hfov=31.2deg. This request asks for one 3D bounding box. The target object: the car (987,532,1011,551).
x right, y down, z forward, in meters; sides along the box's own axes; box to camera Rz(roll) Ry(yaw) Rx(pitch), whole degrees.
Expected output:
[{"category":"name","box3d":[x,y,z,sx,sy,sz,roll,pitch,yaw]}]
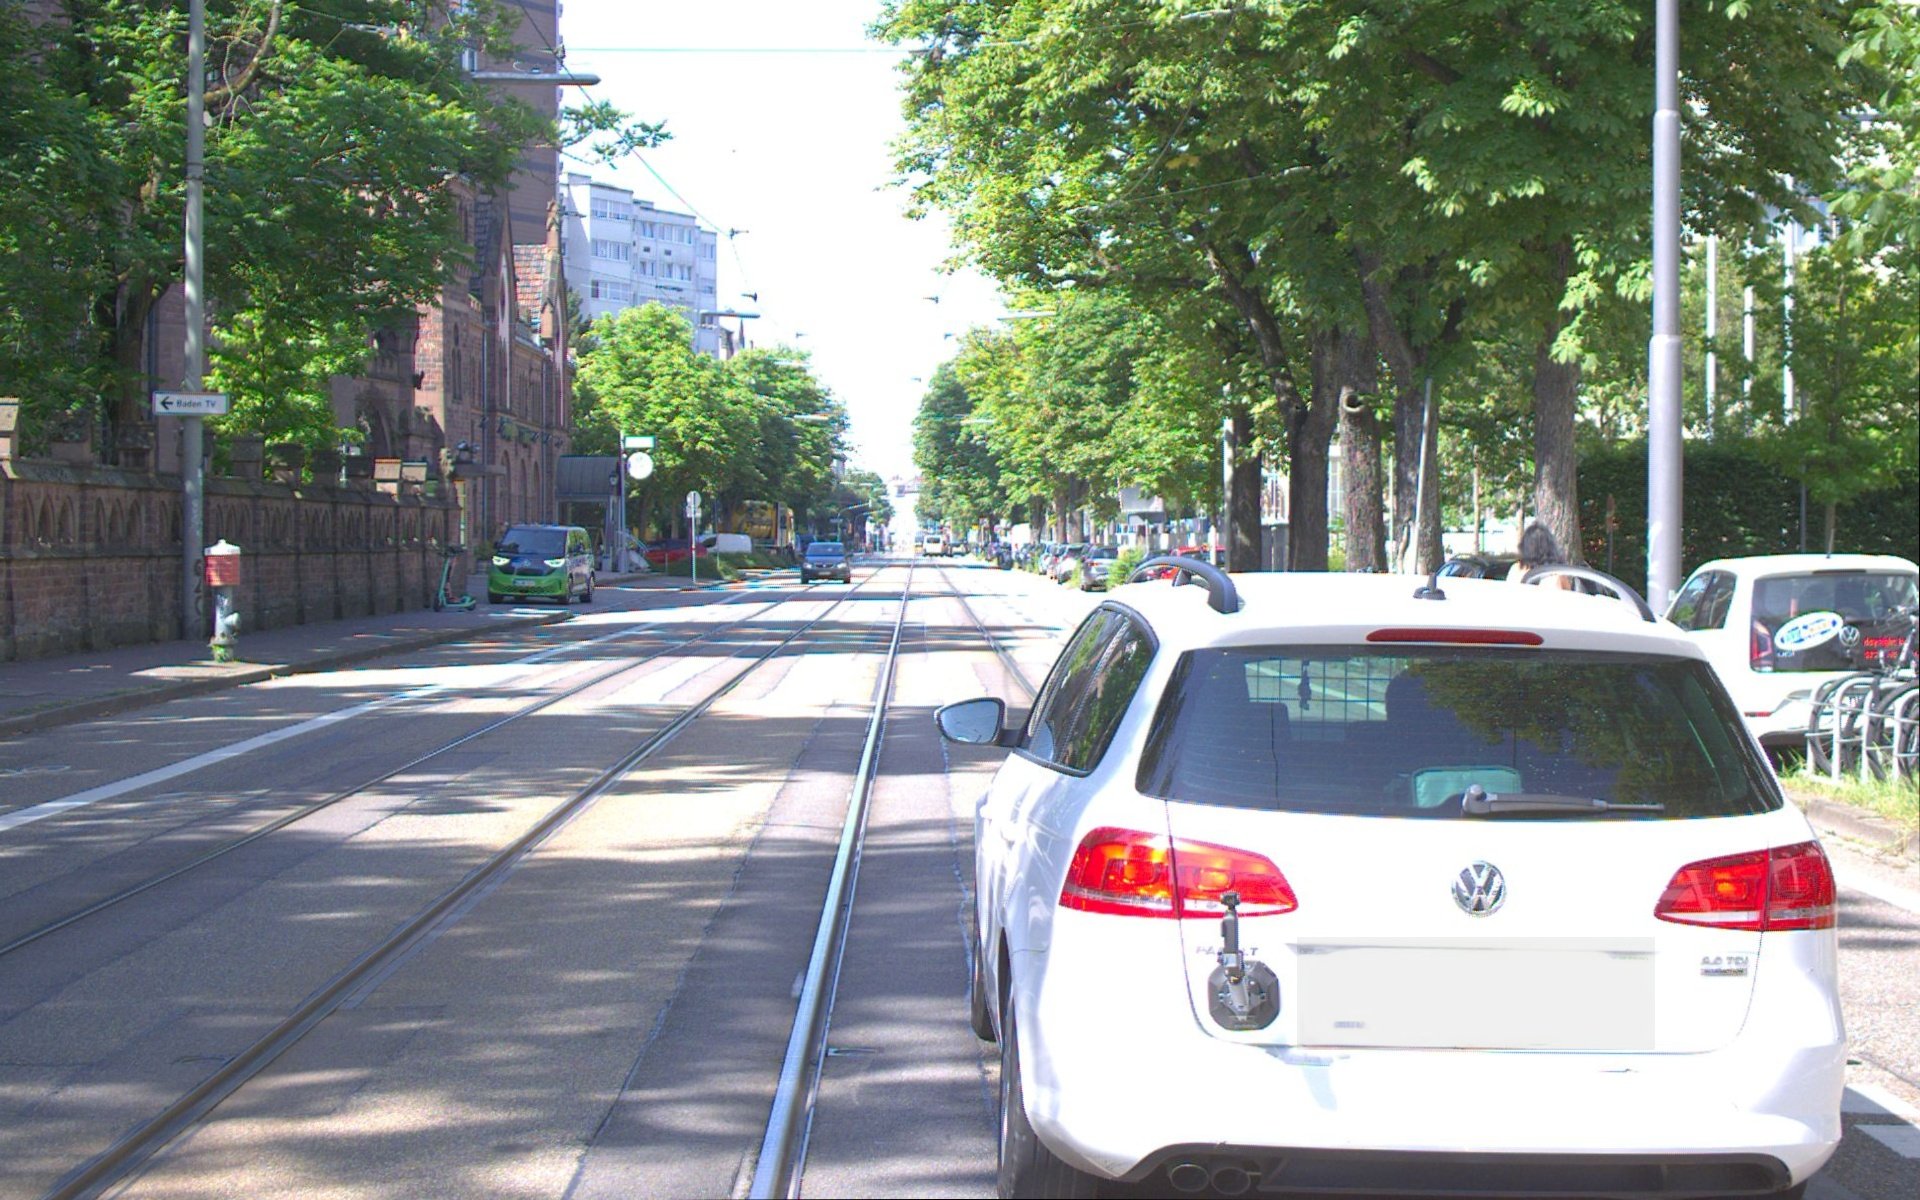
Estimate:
[{"category":"car","box3d":[2.785,-4.188,245.501,1.713,1.396,3.843,0,1,0]}]

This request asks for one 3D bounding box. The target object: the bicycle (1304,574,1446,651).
[{"category":"bicycle","box3d":[5.446,0.160,45.176,1.787,1.007,0.488,0,1,-5]}]

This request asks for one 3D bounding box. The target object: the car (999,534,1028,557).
[{"category":"car","box3d":[3.285,-3.343,211.782,1.713,1.396,3.843,0,1,0]}]

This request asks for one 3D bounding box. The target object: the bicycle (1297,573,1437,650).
[{"category":"bicycle","box3d":[5.402,0.146,45.695,1.787,1.007,0.488,0,1,-5]}]

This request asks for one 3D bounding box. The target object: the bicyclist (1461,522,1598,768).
[{"category":"bicyclist","box3d":[3.812,0.293,23.055,0.786,1.623,0.738,0,1,0]}]

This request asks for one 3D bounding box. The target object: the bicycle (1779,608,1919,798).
[{"category":"bicycle","box3d":[5.915,0.631,20.500,1.885,1.079,0.551,2,1,-3]}]

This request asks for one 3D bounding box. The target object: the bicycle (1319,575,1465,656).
[{"category":"bicycle","box3d":[5.518,0.195,43.904,1.787,1.007,0.488,0,1,-5]}]

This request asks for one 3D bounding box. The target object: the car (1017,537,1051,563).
[{"category":"car","box3d":[3.884,-2.640,181.416,1.713,1.396,3.843,0,1,0]}]

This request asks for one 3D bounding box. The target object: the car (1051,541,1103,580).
[{"category":"car","box3d":[4.236,-1.441,124.954,1.713,1.396,3.843,0,1,-1]}]

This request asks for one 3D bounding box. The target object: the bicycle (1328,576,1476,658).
[{"category":"bicycle","box3d":[5.570,0.211,43.321,1.787,1.007,0.488,0,1,-5]}]

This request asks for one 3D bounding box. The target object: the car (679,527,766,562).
[{"category":"car","box3d":[-12.191,-2.853,176.324,3.988,1.809,2.000,-1,1,-36]}]

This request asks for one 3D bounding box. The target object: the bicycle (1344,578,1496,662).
[{"category":"bicycle","box3d":[5.639,0.243,42.162,1.787,1.007,0.488,0,1,-5]}]

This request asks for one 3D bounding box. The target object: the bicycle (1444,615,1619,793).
[{"category":"bicycle","box3d":[3.787,0.669,22.930,0.811,1.074,2.012,1,1,0]}]

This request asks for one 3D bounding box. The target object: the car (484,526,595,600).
[{"category":"car","box3d":[-10.244,-0.918,84.062,1.993,1.751,4.712,0,1,2]}]

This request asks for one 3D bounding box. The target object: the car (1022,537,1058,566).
[{"category":"car","box3d":[3.933,-2.396,170.183,1.713,1.396,3.843,0,1,0]}]

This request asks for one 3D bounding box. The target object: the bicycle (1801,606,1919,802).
[{"category":"bicycle","box3d":[5.907,0.628,19.858,1.911,1.079,0.551,3,1,-3]}]

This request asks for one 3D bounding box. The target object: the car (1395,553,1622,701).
[{"category":"car","box3d":[5.739,0.237,36.452,1.664,1.439,4.633,0,1,0]}]

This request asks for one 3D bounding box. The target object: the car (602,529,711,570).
[{"category":"car","box3d":[-12.630,-2.105,143.052,4.116,1.525,1.933,2,1,-21]}]

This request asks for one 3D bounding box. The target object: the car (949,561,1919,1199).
[{"category":"car","box3d":[0.912,0.634,8.709,1.753,1.437,4.413,1,1,-2]}]

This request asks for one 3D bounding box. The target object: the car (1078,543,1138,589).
[{"category":"car","box3d":[4.604,-1.062,107.108,1.713,1.396,3.843,0,1,0]}]

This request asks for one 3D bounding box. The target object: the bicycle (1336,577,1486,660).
[{"category":"bicycle","box3d":[5.602,0.227,42.745,1.787,1.007,0.488,0,1,-5]}]

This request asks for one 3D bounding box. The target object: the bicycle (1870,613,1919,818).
[{"category":"bicycle","box3d":[5.984,0.651,18.646,1.911,1.079,0.551,2,1,-3]}]

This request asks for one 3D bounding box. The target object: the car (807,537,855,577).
[{"category":"car","box3d":[-4.494,-1.523,120.093,1.493,1.380,3.643,0,1,0]}]

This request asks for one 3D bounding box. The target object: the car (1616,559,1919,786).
[{"category":"car","box3d":[5.816,0.446,24.351,1.590,1.446,3.946,0,1,0]}]

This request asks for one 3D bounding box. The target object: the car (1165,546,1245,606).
[{"category":"car","box3d":[5.369,-0.550,75.676,1.713,1.276,3.843,0,1,4]}]

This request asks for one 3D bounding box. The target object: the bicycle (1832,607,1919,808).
[{"category":"bicycle","box3d":[5.936,0.633,19.245,1.911,1.079,0.551,3,1,-3]}]

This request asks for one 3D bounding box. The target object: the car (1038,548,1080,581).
[{"category":"car","box3d":[4.323,-1.558,150.437,1.713,1.396,3.843,0,1,0]}]

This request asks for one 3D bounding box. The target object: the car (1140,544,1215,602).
[{"category":"car","box3d":[5.387,-0.690,85.569,1.713,1.396,3.843,0,1,1]}]

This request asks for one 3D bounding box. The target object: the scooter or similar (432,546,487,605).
[{"category":"scooter or similar","box3d":[-9.866,-0.480,67.790,0.405,1.151,1.141,1,1,34]}]

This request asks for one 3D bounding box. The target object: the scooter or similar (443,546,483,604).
[{"category":"scooter or similar","box3d":[-10.272,-0.525,71.063,0.423,1.196,1.142,0,1,14]}]
